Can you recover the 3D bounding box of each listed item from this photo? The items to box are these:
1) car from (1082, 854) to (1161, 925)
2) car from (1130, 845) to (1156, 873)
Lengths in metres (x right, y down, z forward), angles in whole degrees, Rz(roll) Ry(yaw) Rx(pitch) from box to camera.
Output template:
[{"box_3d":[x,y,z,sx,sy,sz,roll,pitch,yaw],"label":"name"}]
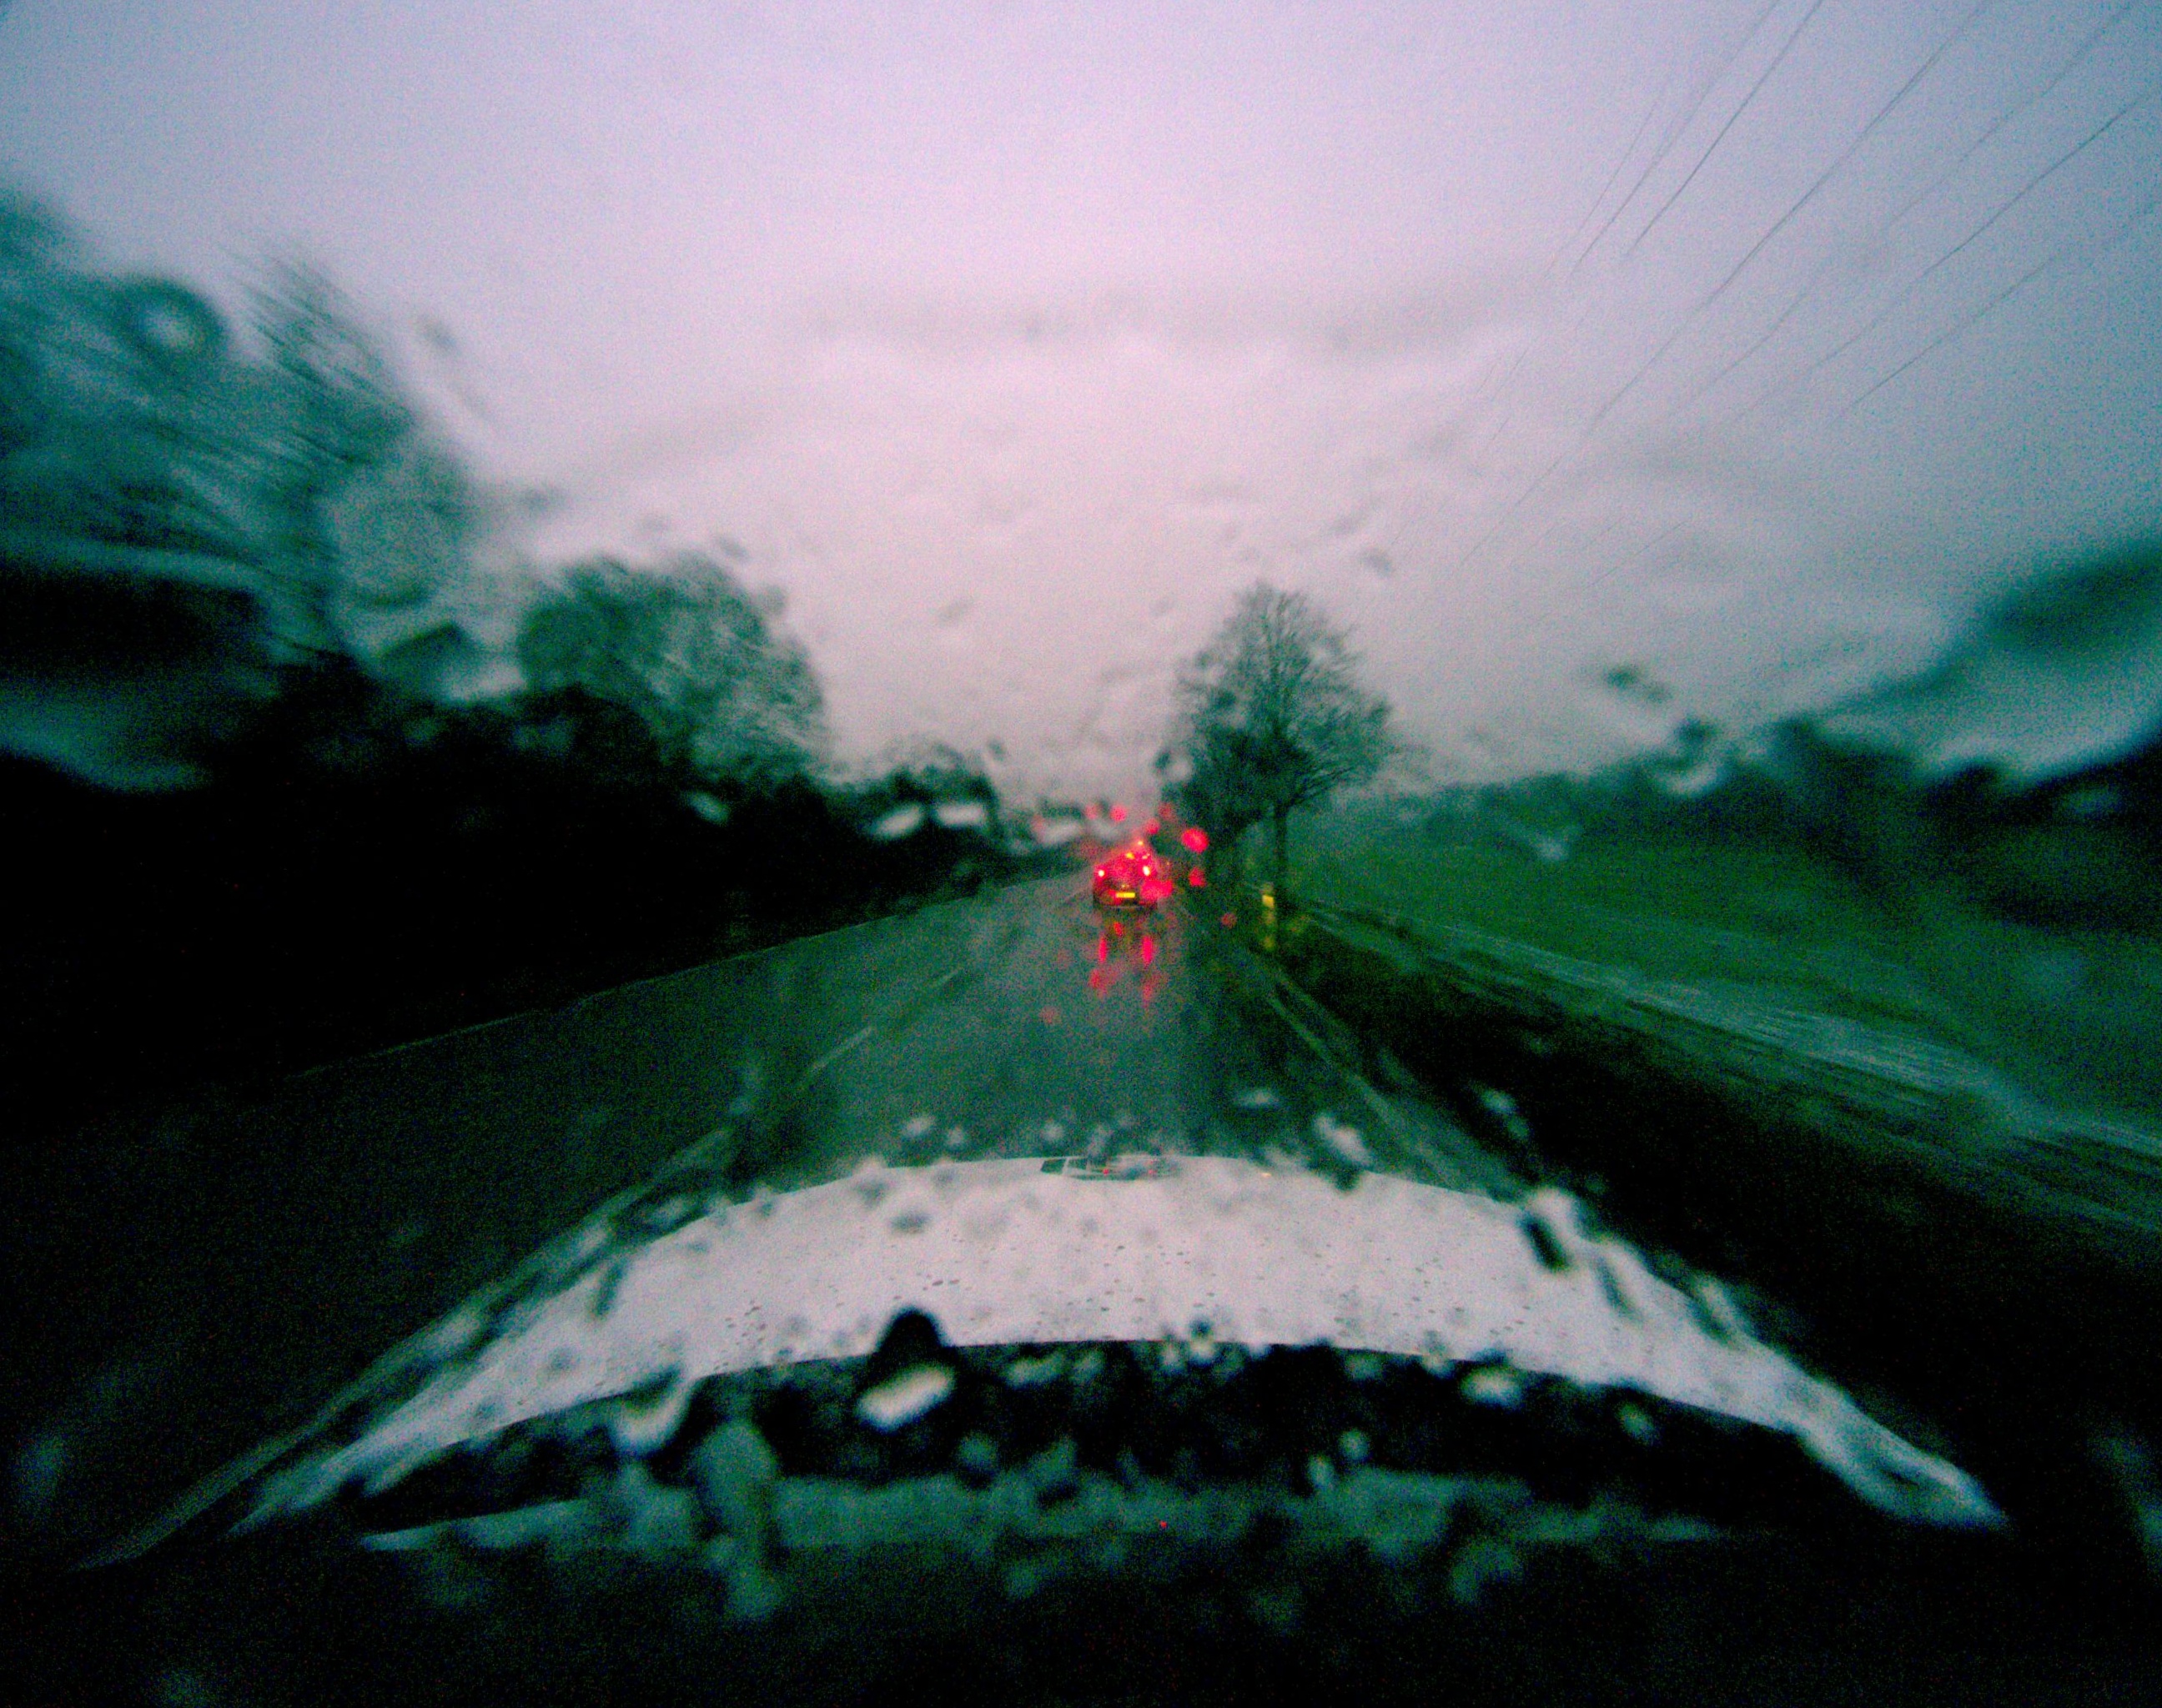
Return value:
[{"box_3d":[1.237,0.919,23.038,1.984,1.752,4.006,-2,1,5],"label":"car"},{"box_3d":[5.729,0.402,74.716,1.983,2.012,4.011,4,6,7],"label":"car"}]
